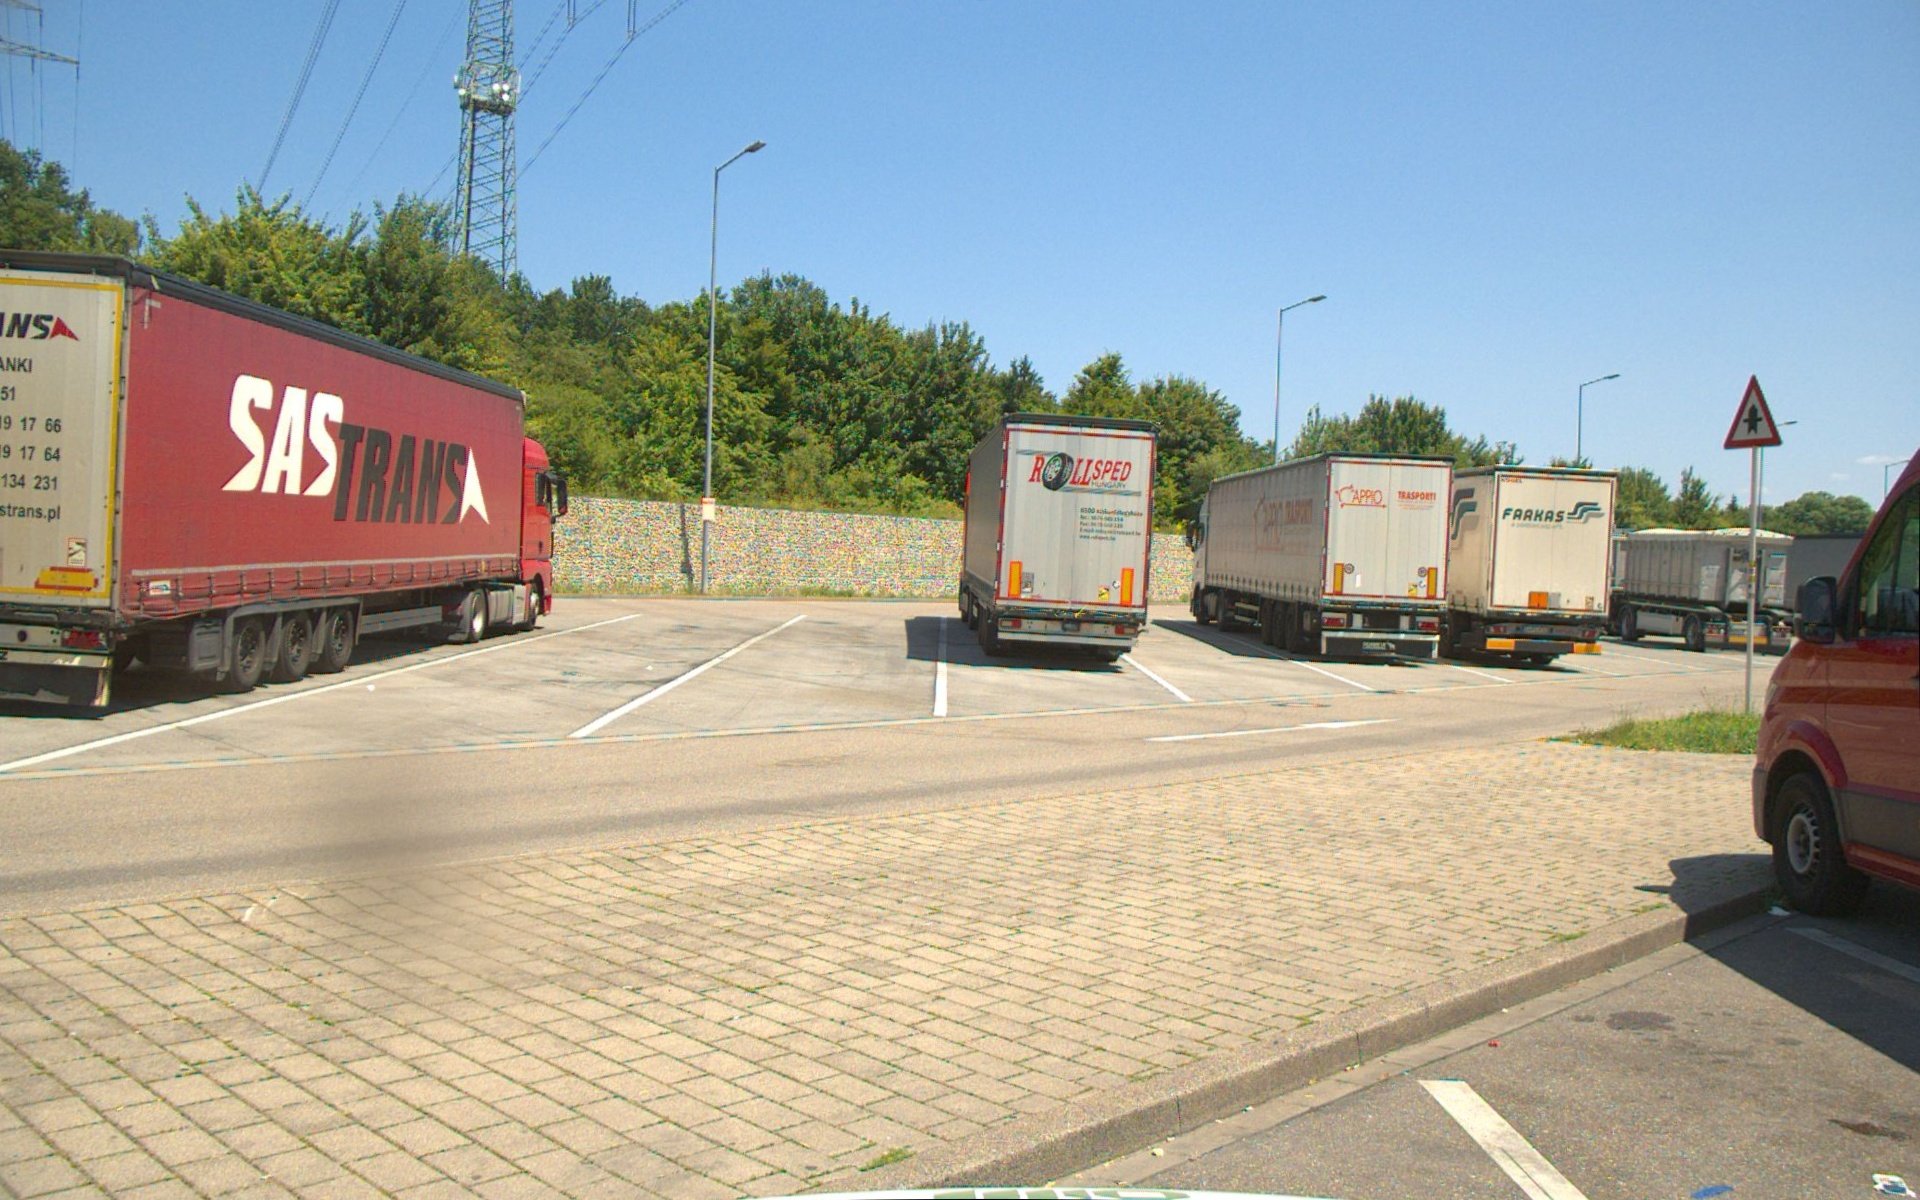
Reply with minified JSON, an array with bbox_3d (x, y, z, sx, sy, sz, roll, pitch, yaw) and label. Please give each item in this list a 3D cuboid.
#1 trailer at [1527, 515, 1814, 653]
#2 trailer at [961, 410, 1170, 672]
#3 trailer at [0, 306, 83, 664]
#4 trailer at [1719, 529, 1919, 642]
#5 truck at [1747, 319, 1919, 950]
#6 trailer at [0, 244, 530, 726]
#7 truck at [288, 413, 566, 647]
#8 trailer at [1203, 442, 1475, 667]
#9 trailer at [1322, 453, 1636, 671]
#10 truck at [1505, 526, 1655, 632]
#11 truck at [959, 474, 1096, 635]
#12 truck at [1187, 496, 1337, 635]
[{"bbox_3d":[21.841,-0.689,52.262,2.800,3.662,13.762,2,2,-1],"label":"trailer"},{"bbox_3d":[1.681,-1.179,33.165,2.800,4.040,13.761,2,2,-2],"label":"trailer"},{"bbox_3d":[-12.482,-1.259,15.811,2.651,4.173,10.389,2,2,-1],"label":"trailer"},{"bbox_3d":[34.793,-0.721,65.462,2.800,3.972,13.762,2,2,-1],"label":"trailer"},{"bbox_3d":[4.999,0.157,5.534,1.969,2.697,6.457,1,0,3],"label":"truck"},{"bbox_3d":[-8.685,-1.272,21.267,2.764,4.141,13.763,2,2,-1],"label":"trailer"},{"bbox_3d":[-8.794,-1.165,28.083,2.755,3.421,5.974,2,2,-1],"label":"truck"},{"bbox_3d":[8.255,-1.107,38.518,2.800,4.180,13.762,2,2,-1],"label":"trailer"},{"bbox_3d":[11.775,-0.997,39.583,2.800,4.180,13.762,2,2,-1],"label":"trailer"},{"bbox_3d":[21.742,-0.804,58.357,2.808,3.421,5.974,2,2,-1],"label":"truck"},{"bbox_3d":[1.480,-1.097,39.362,2.808,3.421,5.974,2,2,-1],"label":"truck"},{"bbox_3d":[8.132,-0.991,45.281,2.808,3.421,5.974,2,2,-1],"label":"truck"}]
